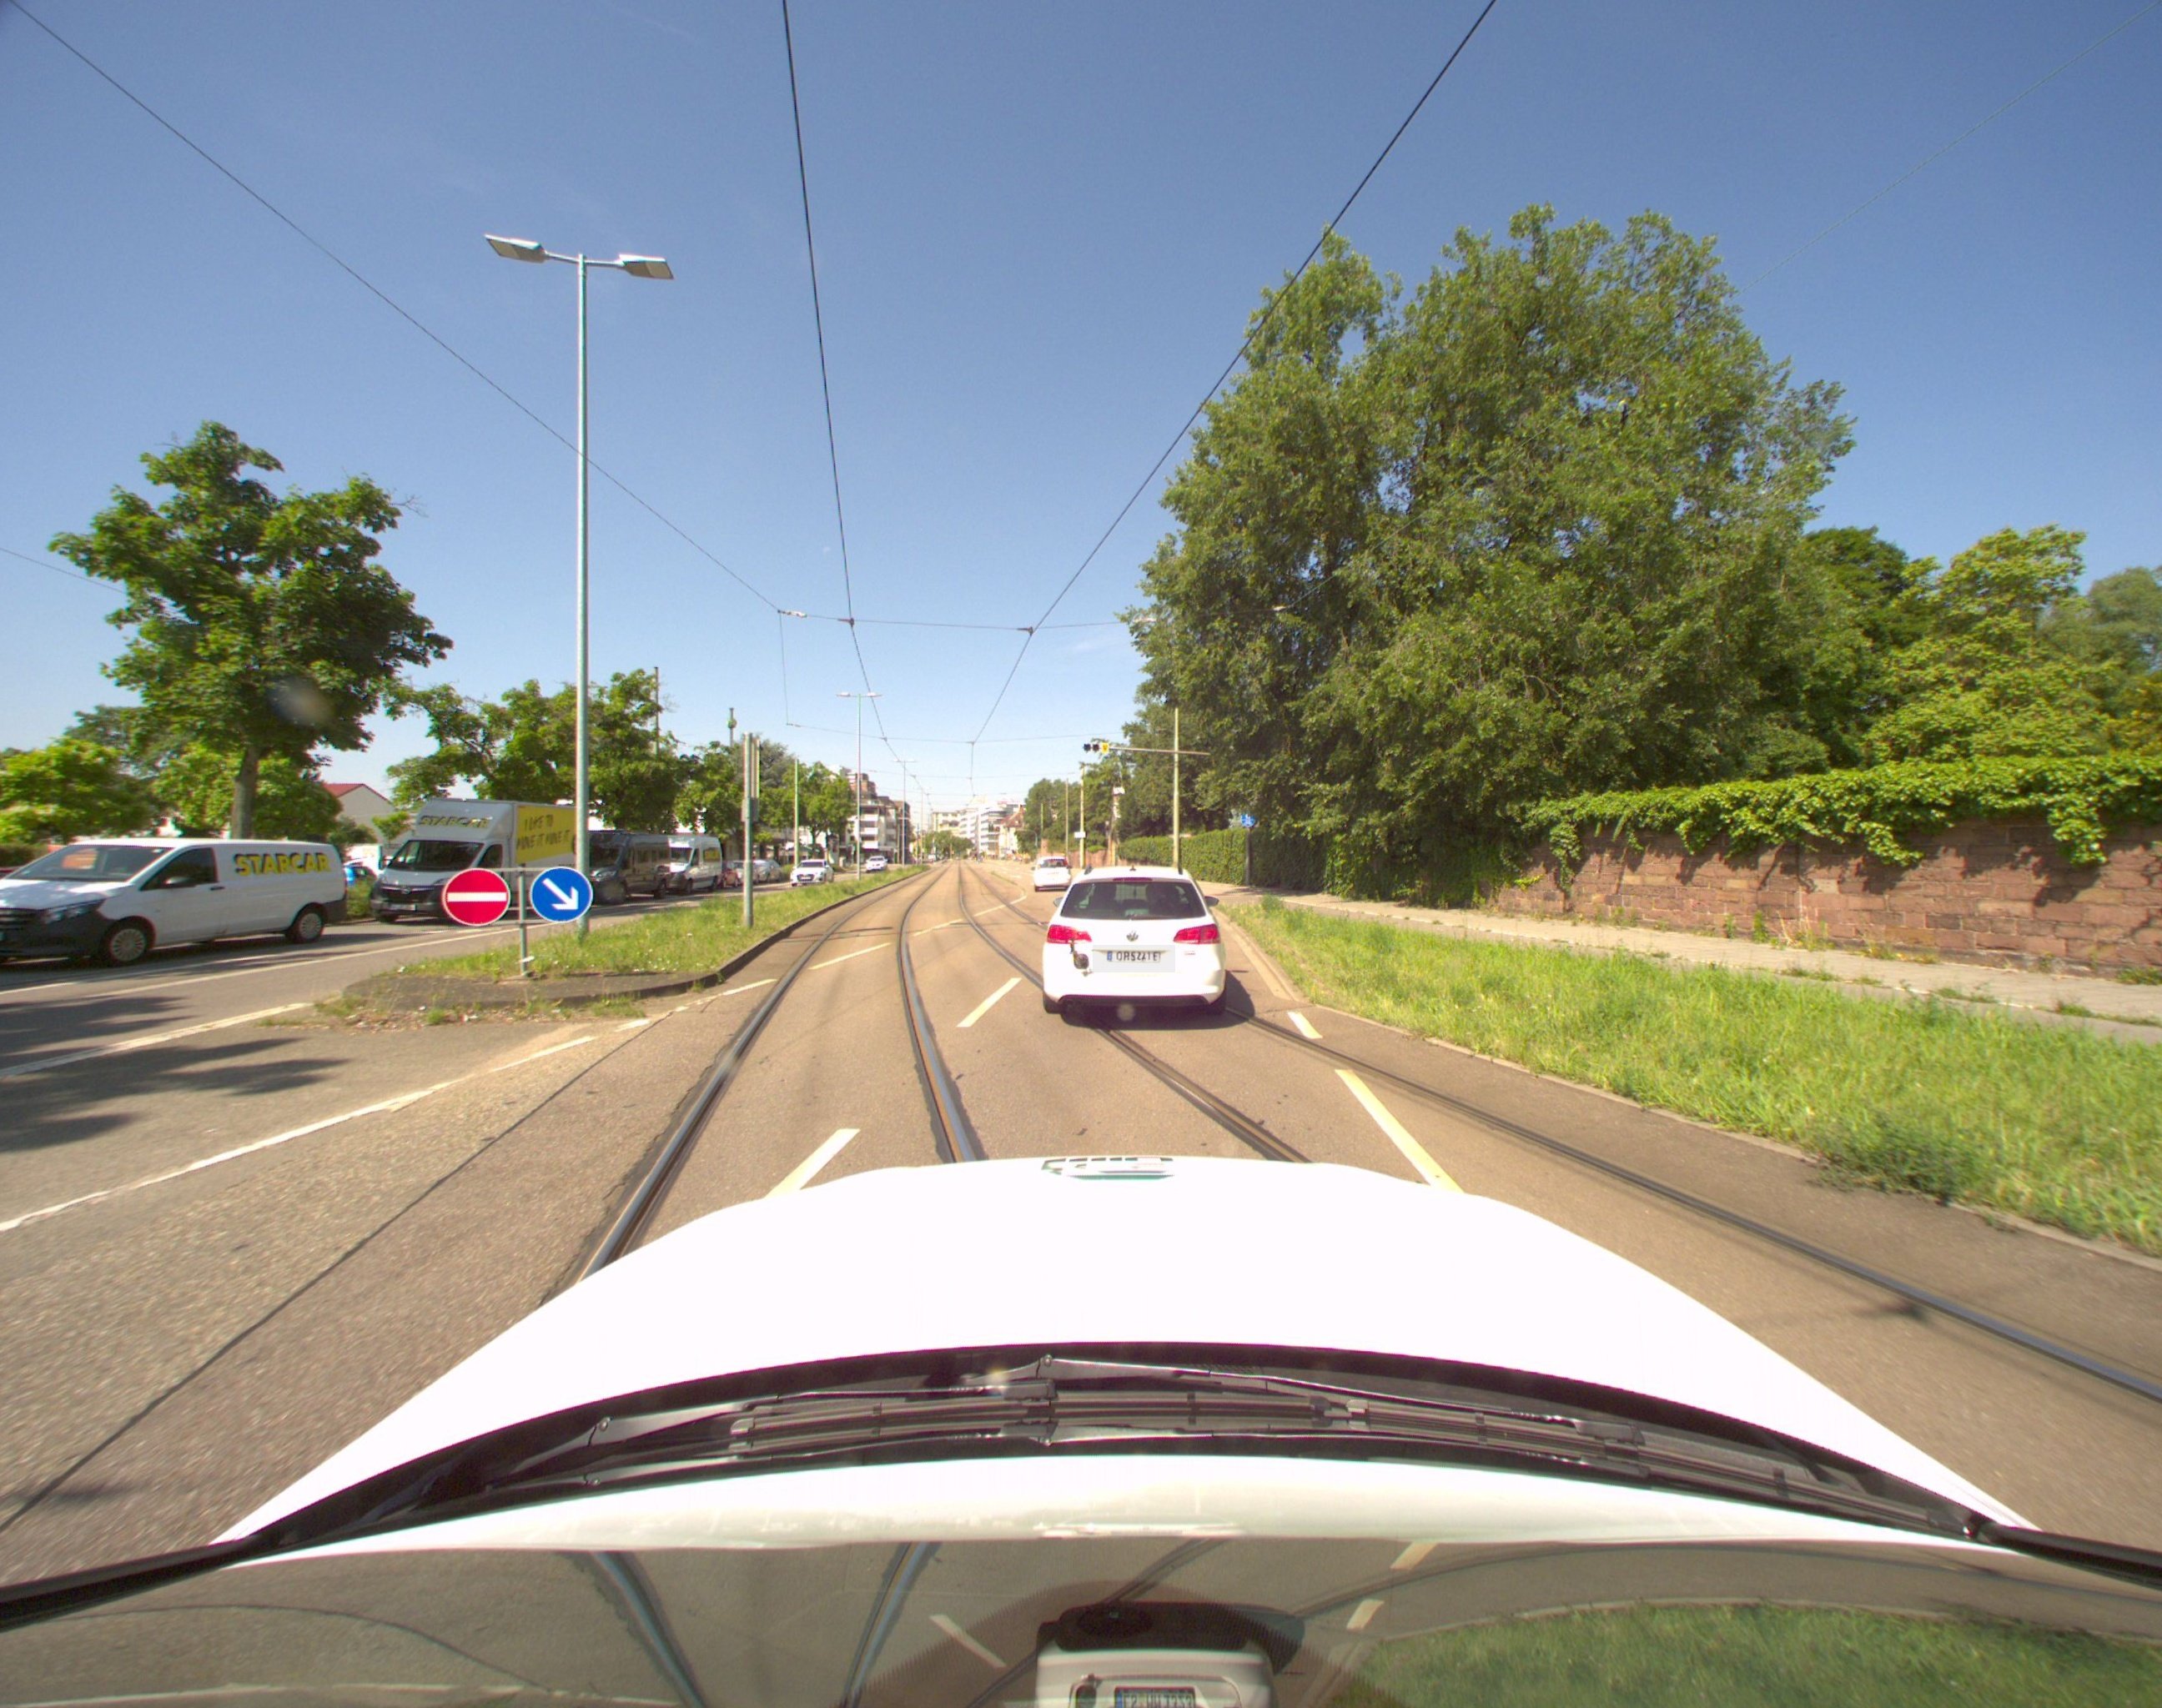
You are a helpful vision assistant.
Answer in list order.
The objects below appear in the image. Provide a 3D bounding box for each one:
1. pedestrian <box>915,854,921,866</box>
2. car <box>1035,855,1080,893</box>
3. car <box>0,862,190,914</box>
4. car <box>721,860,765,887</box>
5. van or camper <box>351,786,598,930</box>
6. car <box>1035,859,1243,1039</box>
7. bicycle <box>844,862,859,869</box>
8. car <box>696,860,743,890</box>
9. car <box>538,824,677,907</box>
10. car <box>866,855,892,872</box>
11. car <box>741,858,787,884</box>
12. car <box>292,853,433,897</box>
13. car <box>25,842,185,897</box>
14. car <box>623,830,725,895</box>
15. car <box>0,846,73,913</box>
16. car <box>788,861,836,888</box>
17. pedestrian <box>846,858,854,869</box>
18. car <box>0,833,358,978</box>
[{"bbox_3d":[-23.606,0.820,117.976,0.828,1.739,0.927,-1,0,-16],"label":"pedestrian"},{"bbox_3d":[-1.028,0.866,37.422,1.723,1.596,4.014,0,0,3],"label":"car"},{"bbox_3d":[-26.911,0.878,21.758,3.986,1.271,1.658,-1,0,-9],"label":"car"},{"bbox_3d":[-19.559,1.095,47.283,1.291,1.490,4.338,-1,0,-8],"label":"car"},{"bbox_3d":[-15.876,0.085,22.031,2.194,3.241,6.755,2,0,-7],"label":"van or camper"},{"bbox_3d":[0.540,0.824,8.903,1.772,1.490,3.848,0,0,1],"label":"car"},{"bbox_3d":[-32.324,1.610,114.894,0.546,0.921,2.191,0,0,35],"label":"bicycle"},{"bbox_3d":[-18.883,1.074,42.662,1.291,1.490,3.666,1,0,-8],"label":"car"},{"bbox_3d":[-17.089,0.373,29.844,2.194,2.668,6.062,2,0,-8],"label":"car"},{"bbox_3d":[-19.978,0.937,80.502,2.042,1.597,4.646,-1,0,-9],"label":"car"},{"bbox_3d":[-20.368,1.075,52.440,1.602,1.490,4.607,2,0,-7],"label":"car"},{"bbox_3d":[-29.195,0.840,33.204,3.988,1.694,1.657,-1,0,-11],"label":"car"},{"bbox_3d":[-41.573,0.629,34.801,3.990,2.200,1.903,0,0,-12],"label":"car"},{"bbox_3d":[-18.042,0.353,36.473,2.194,2.630,5.962,2,0,-8],"label":"car"},{"bbox_3d":[-26.957,0.618,19.129,3.986,1.544,1.658,-1,0,-9],"label":"car"},{"bbox_3d":[-14.963,1.108,45.543,1.790,1.422,4.323,-1,0,-8],"label":"car"},{"bbox_3d":[-32.709,1.352,115.342,0.559,1.487,0.821,-1,0,35],"label":"pedestrian"},{"bbox_3d":[-15.194,0.686,13.484,2.194,1.941,5.172,2,0,-7],"label":"car"}]
